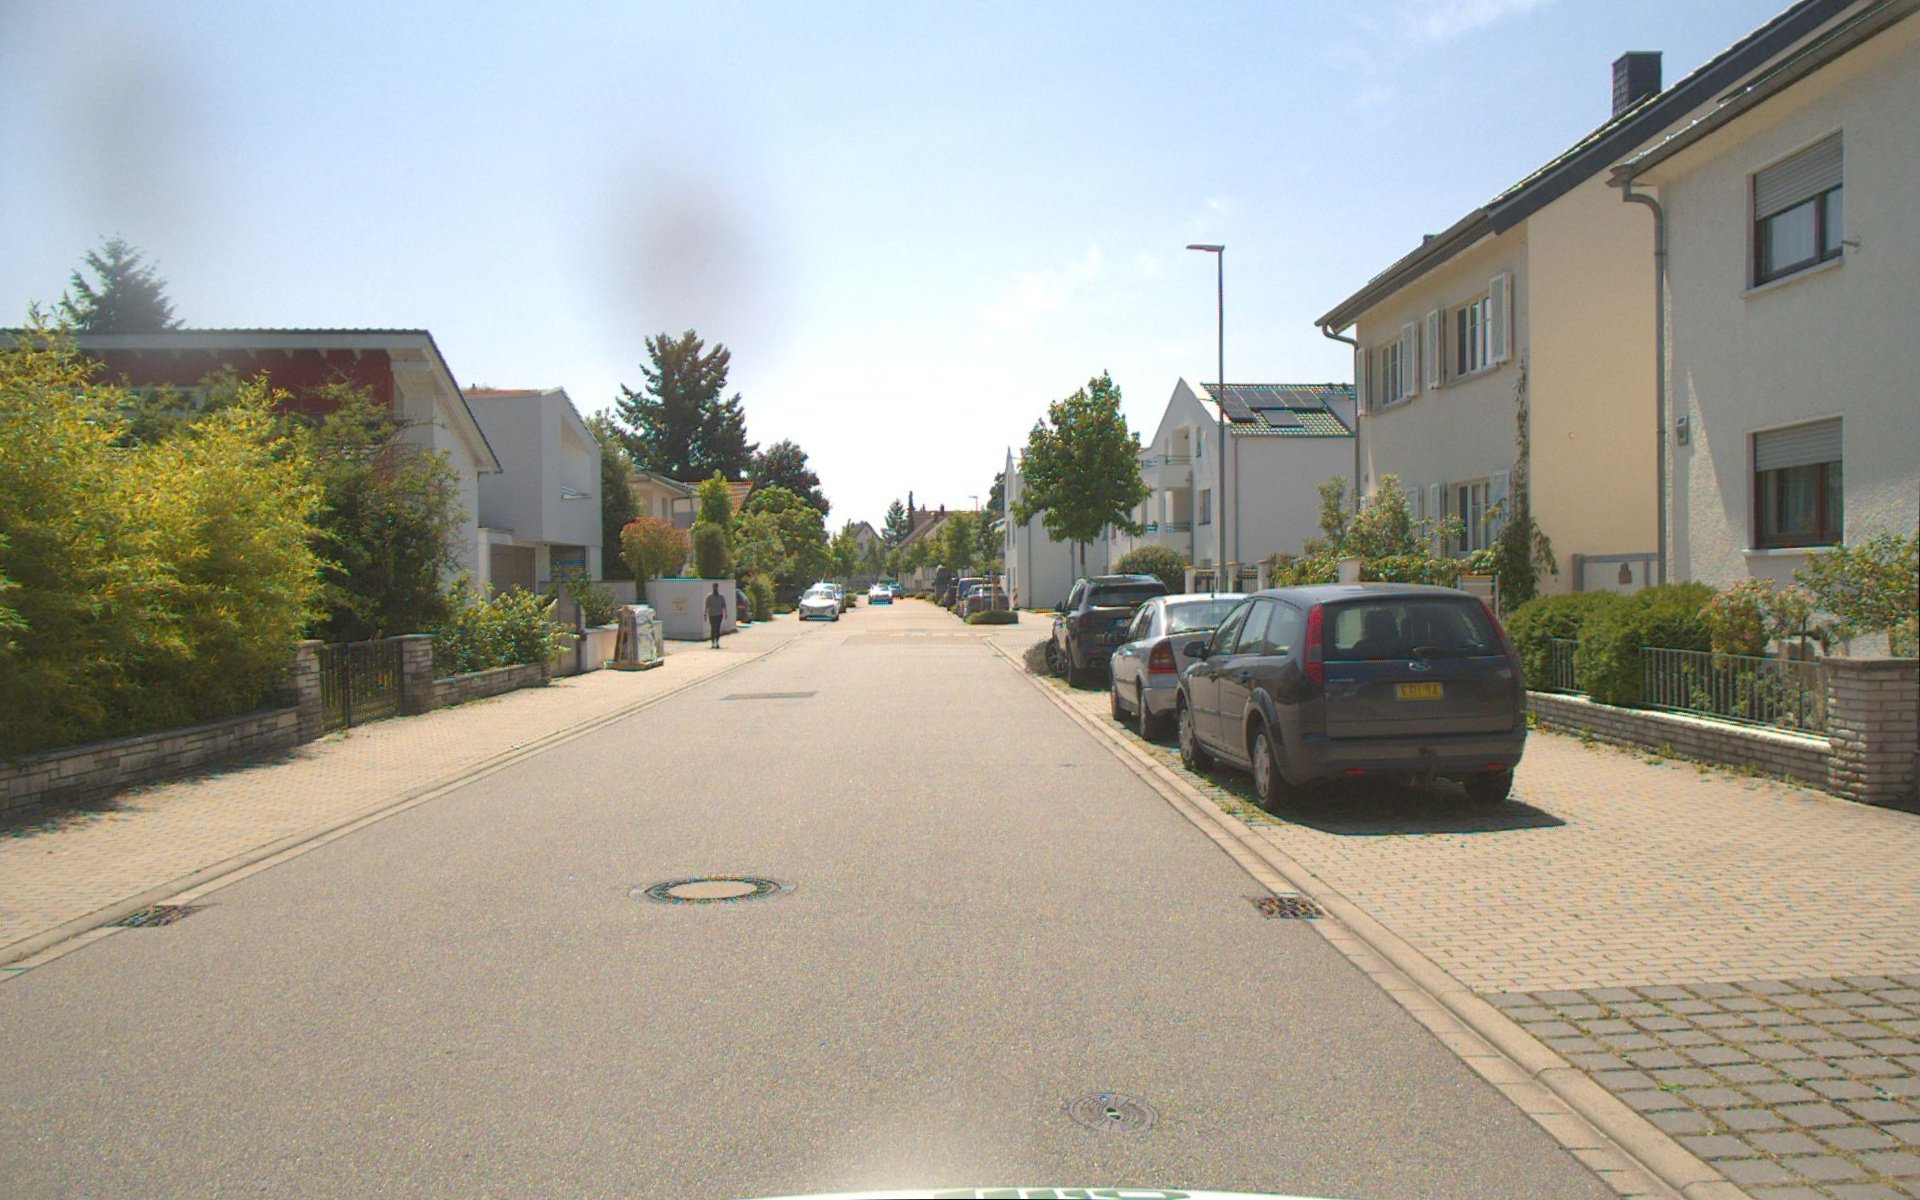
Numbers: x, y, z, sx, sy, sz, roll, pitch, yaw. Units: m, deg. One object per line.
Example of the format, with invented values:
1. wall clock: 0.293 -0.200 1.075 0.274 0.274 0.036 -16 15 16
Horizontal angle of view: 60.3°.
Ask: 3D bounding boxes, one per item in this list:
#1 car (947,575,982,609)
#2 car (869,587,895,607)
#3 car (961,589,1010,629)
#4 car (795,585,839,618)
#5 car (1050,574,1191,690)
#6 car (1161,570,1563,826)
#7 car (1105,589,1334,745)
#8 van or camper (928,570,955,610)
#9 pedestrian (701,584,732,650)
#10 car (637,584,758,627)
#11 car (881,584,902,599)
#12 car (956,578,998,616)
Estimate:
1. car: 0.256 -0.503 101.822 1.953 1.981 5.213 -2 1 -2
2. car: -6.192 -0.253 130.887 1.815 1.504 4.700 -1 1 0
3. car: 1.058 0.362 70.559 1.738 1.623 4.276 -1 1 -4
4. car: -6.782 0.044 78.979 1.814 1.514 4.384 -1 1 -2
5. car: 2.554 0.445 27.259 1.777 1.685 4.564 -1 1 -1
6. car: 2.790 0.589 12.564 1.707 1.560 4.446 -1 0 -4
7. car: 2.703 0.637 18.104 1.777 1.445 4.092 -1 1 -1
8. van or camper: -1.406 -0.786 126.671 1.953 2.993 3.998 -1 0 -2
9. pedestrian: -6.605 0.451 44.924 0.700 1.777 0.960 -1 0 -2
10. car: -10.230 0.208 64.564 4.337 1.499 1.851 2 0 2
11. car: -6.956 -0.890 168.628 1.953 1.455 4.000 -1 1 0
12. car: 0.853 -0.158 87.486 2.057 1.914 4.842 -1 0 -1
